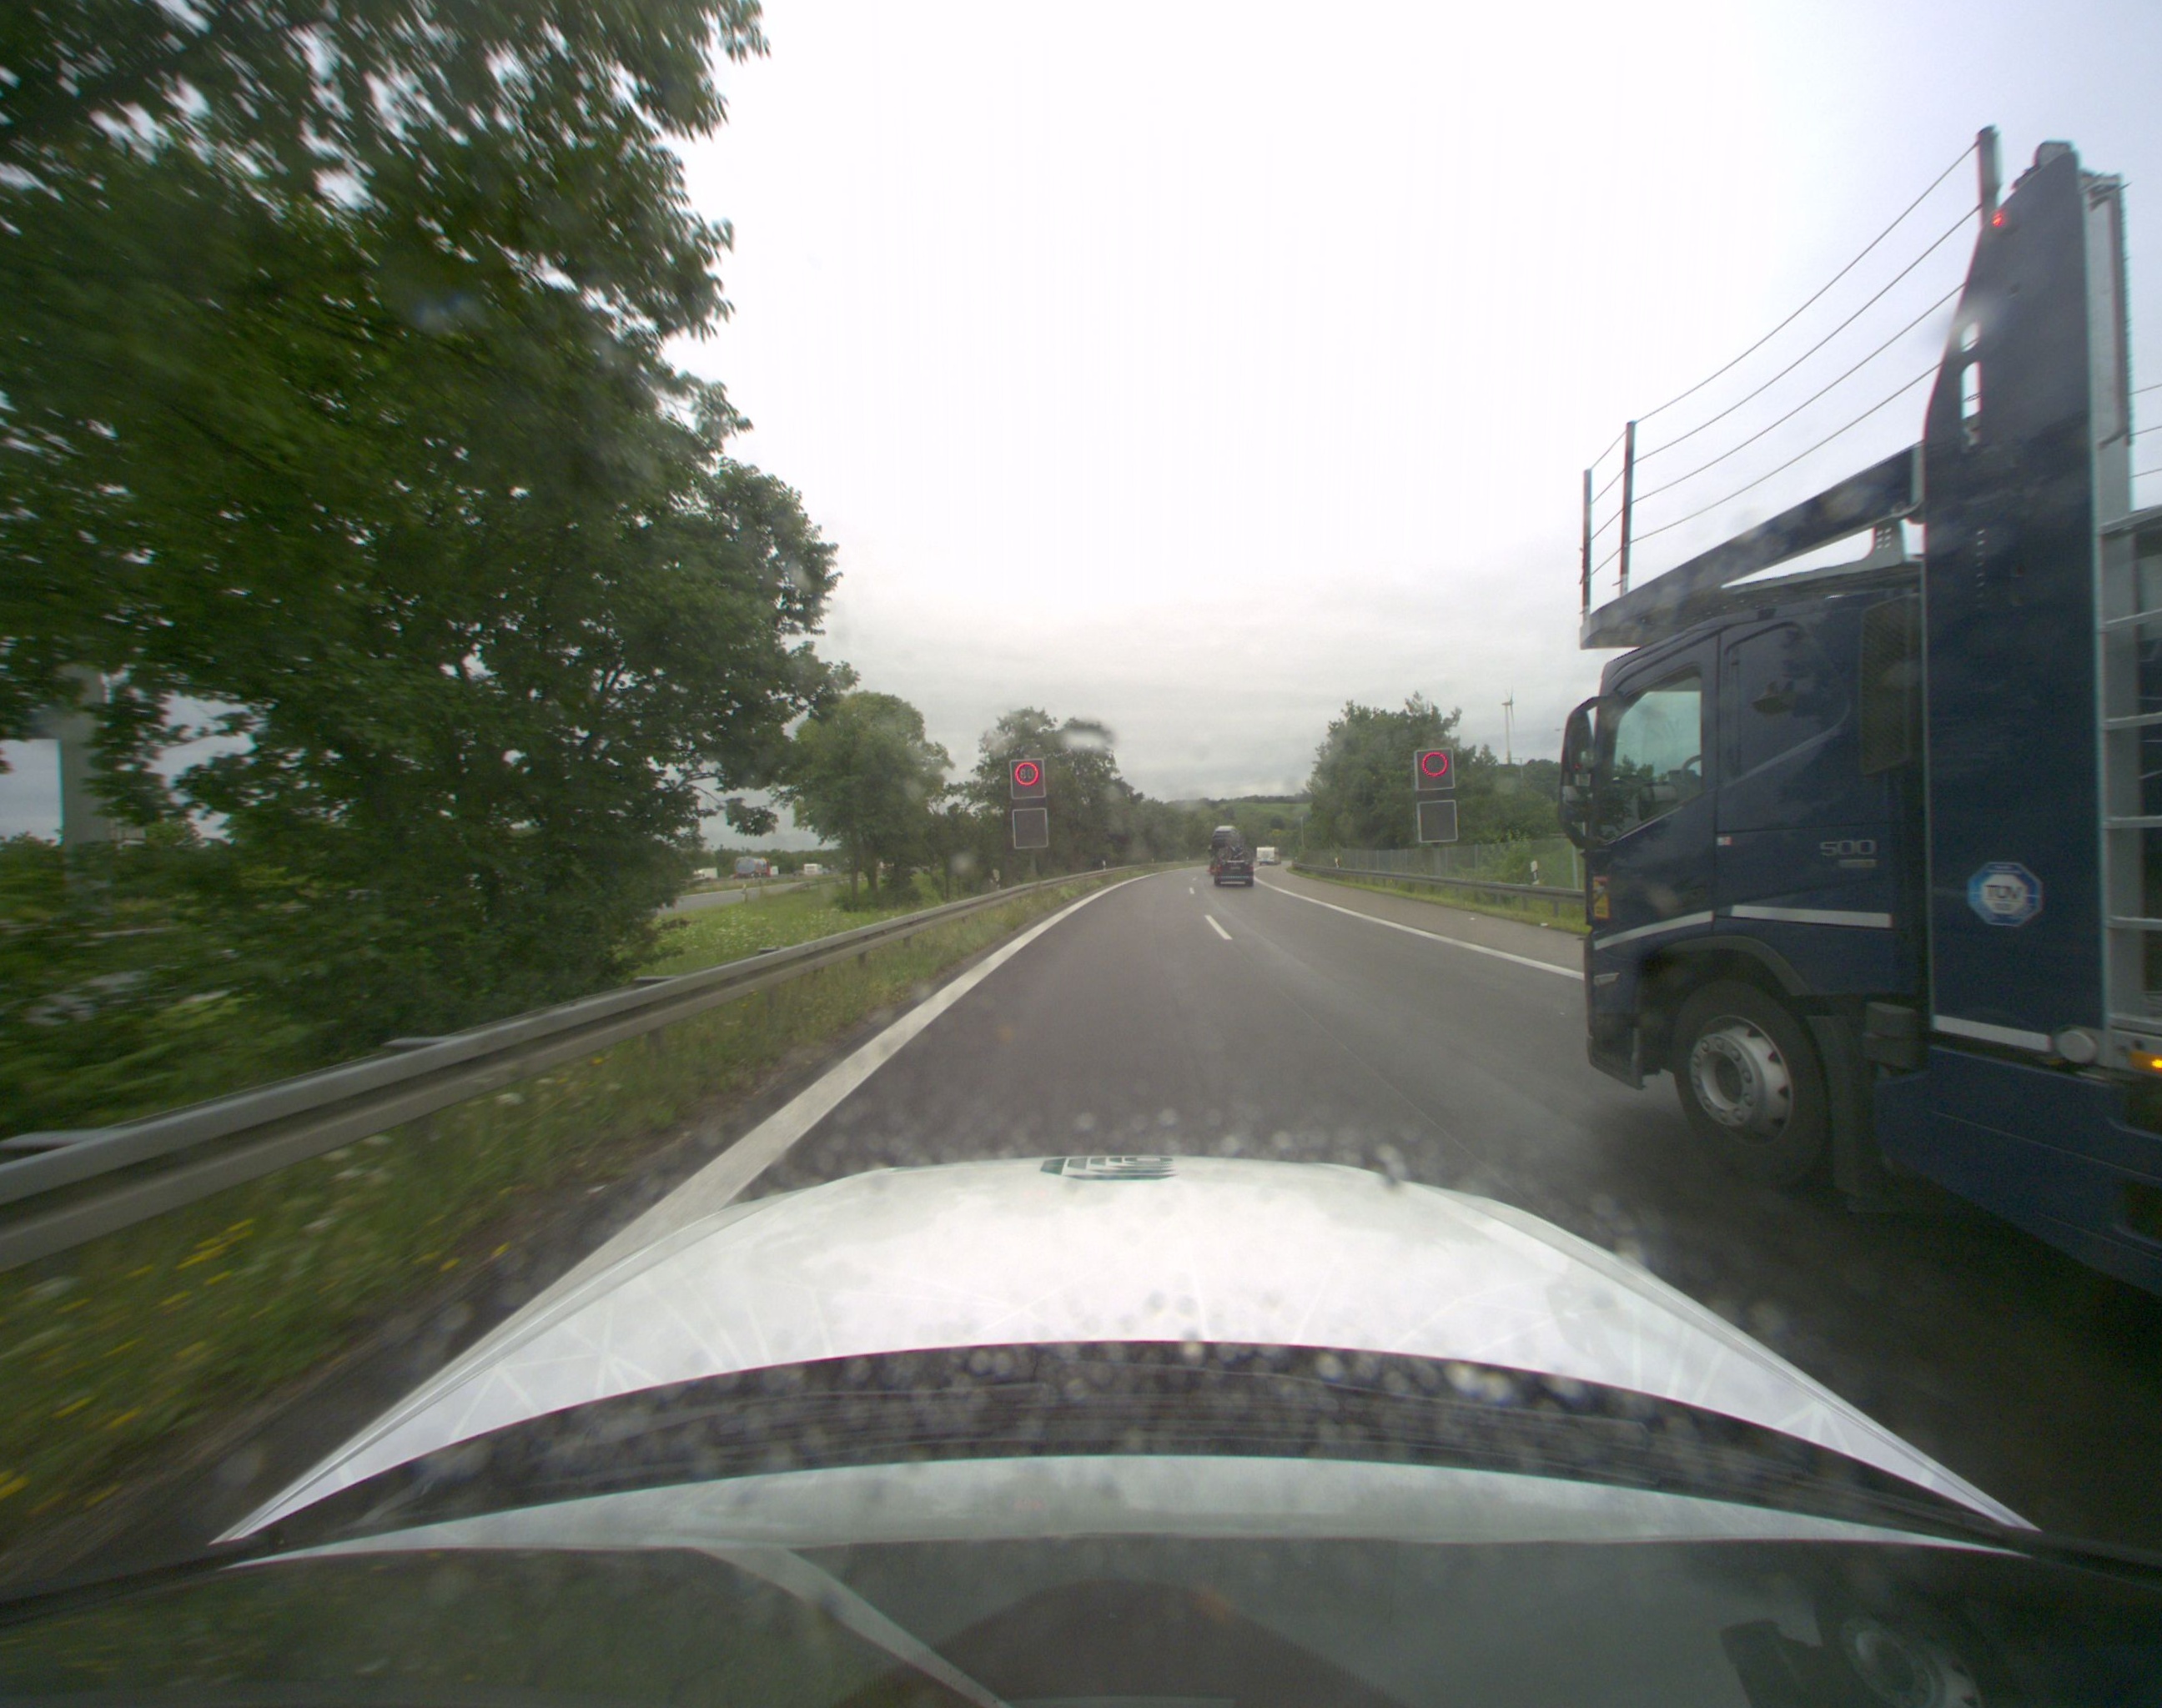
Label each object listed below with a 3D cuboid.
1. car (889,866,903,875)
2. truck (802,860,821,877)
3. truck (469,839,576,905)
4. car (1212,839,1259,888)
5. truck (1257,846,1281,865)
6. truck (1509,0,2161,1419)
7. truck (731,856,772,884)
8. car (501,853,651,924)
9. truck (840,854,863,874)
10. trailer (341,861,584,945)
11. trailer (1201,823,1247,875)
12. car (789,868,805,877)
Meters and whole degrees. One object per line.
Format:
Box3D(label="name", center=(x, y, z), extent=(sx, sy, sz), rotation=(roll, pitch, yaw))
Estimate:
Box3D(label="car", center=(-33.858, 3.018, 149.120), extent=(1.960, 1.637, 5.608), rotation=(-2, -1, -9))
Box3D(label="truck", center=(-47.447, 2.525, 143.364), extent=(2.242, 2.704, 5.263), rotation=(-1, 0, -9))
Box3D(label="truck", center=(-35.064, 1.116, 51.488), extent=(2.637, 3.812, 7.319), rotation=(-2, -1, -9))
Box3D(label="car", center=(7.845, 0.434, 41.812), extent=(2.097, 2.264, 5.911), rotation=(-2, 0, 9))
Box3D(label="truck", center=(27.535, 0.196, 119.119), extent=(2.626, 2.605, 6.451), rotation=(-2, 0, 19))
Box3D(label="truck", center=(4.140, -0.522, 0.975), extent=(2.728, 3.968, 9.131), rotation=(0, -1, 2))
Box3D(label="truck", center=(-42.585, 2.030, 105.444), extent=(2.856, 3.365, 8.605), rotation=(-2, 0, -8))
Box3D(label="car", center=(-18.365, 1.177, 30.095), extent=(2.372, 2.266, 6.237), rotation=(-2, 0, -9))
Box3D(label="truck", center=(-52.170, 2.267, 185.181), extent=(3.732, 4.417, 10.164), rotation=(-1, 0, -9))
Box3D(label="trailer", center=(-17.348, 1.230, 23.578), extent=(2.484, 1.994, 7.041), rotation=(-2, 0, -9))
Box3D(label="trailer", center=(11.972, -0.401, 69.064), extent=(3.430, 3.999, 12.053), rotation=(0, 0, 8))
Box3D(label="car", center=(-51.388, 3.387, 147.461), extent=(1.884, 1.574, 3.988), rotation=(-2, -1, -8))
